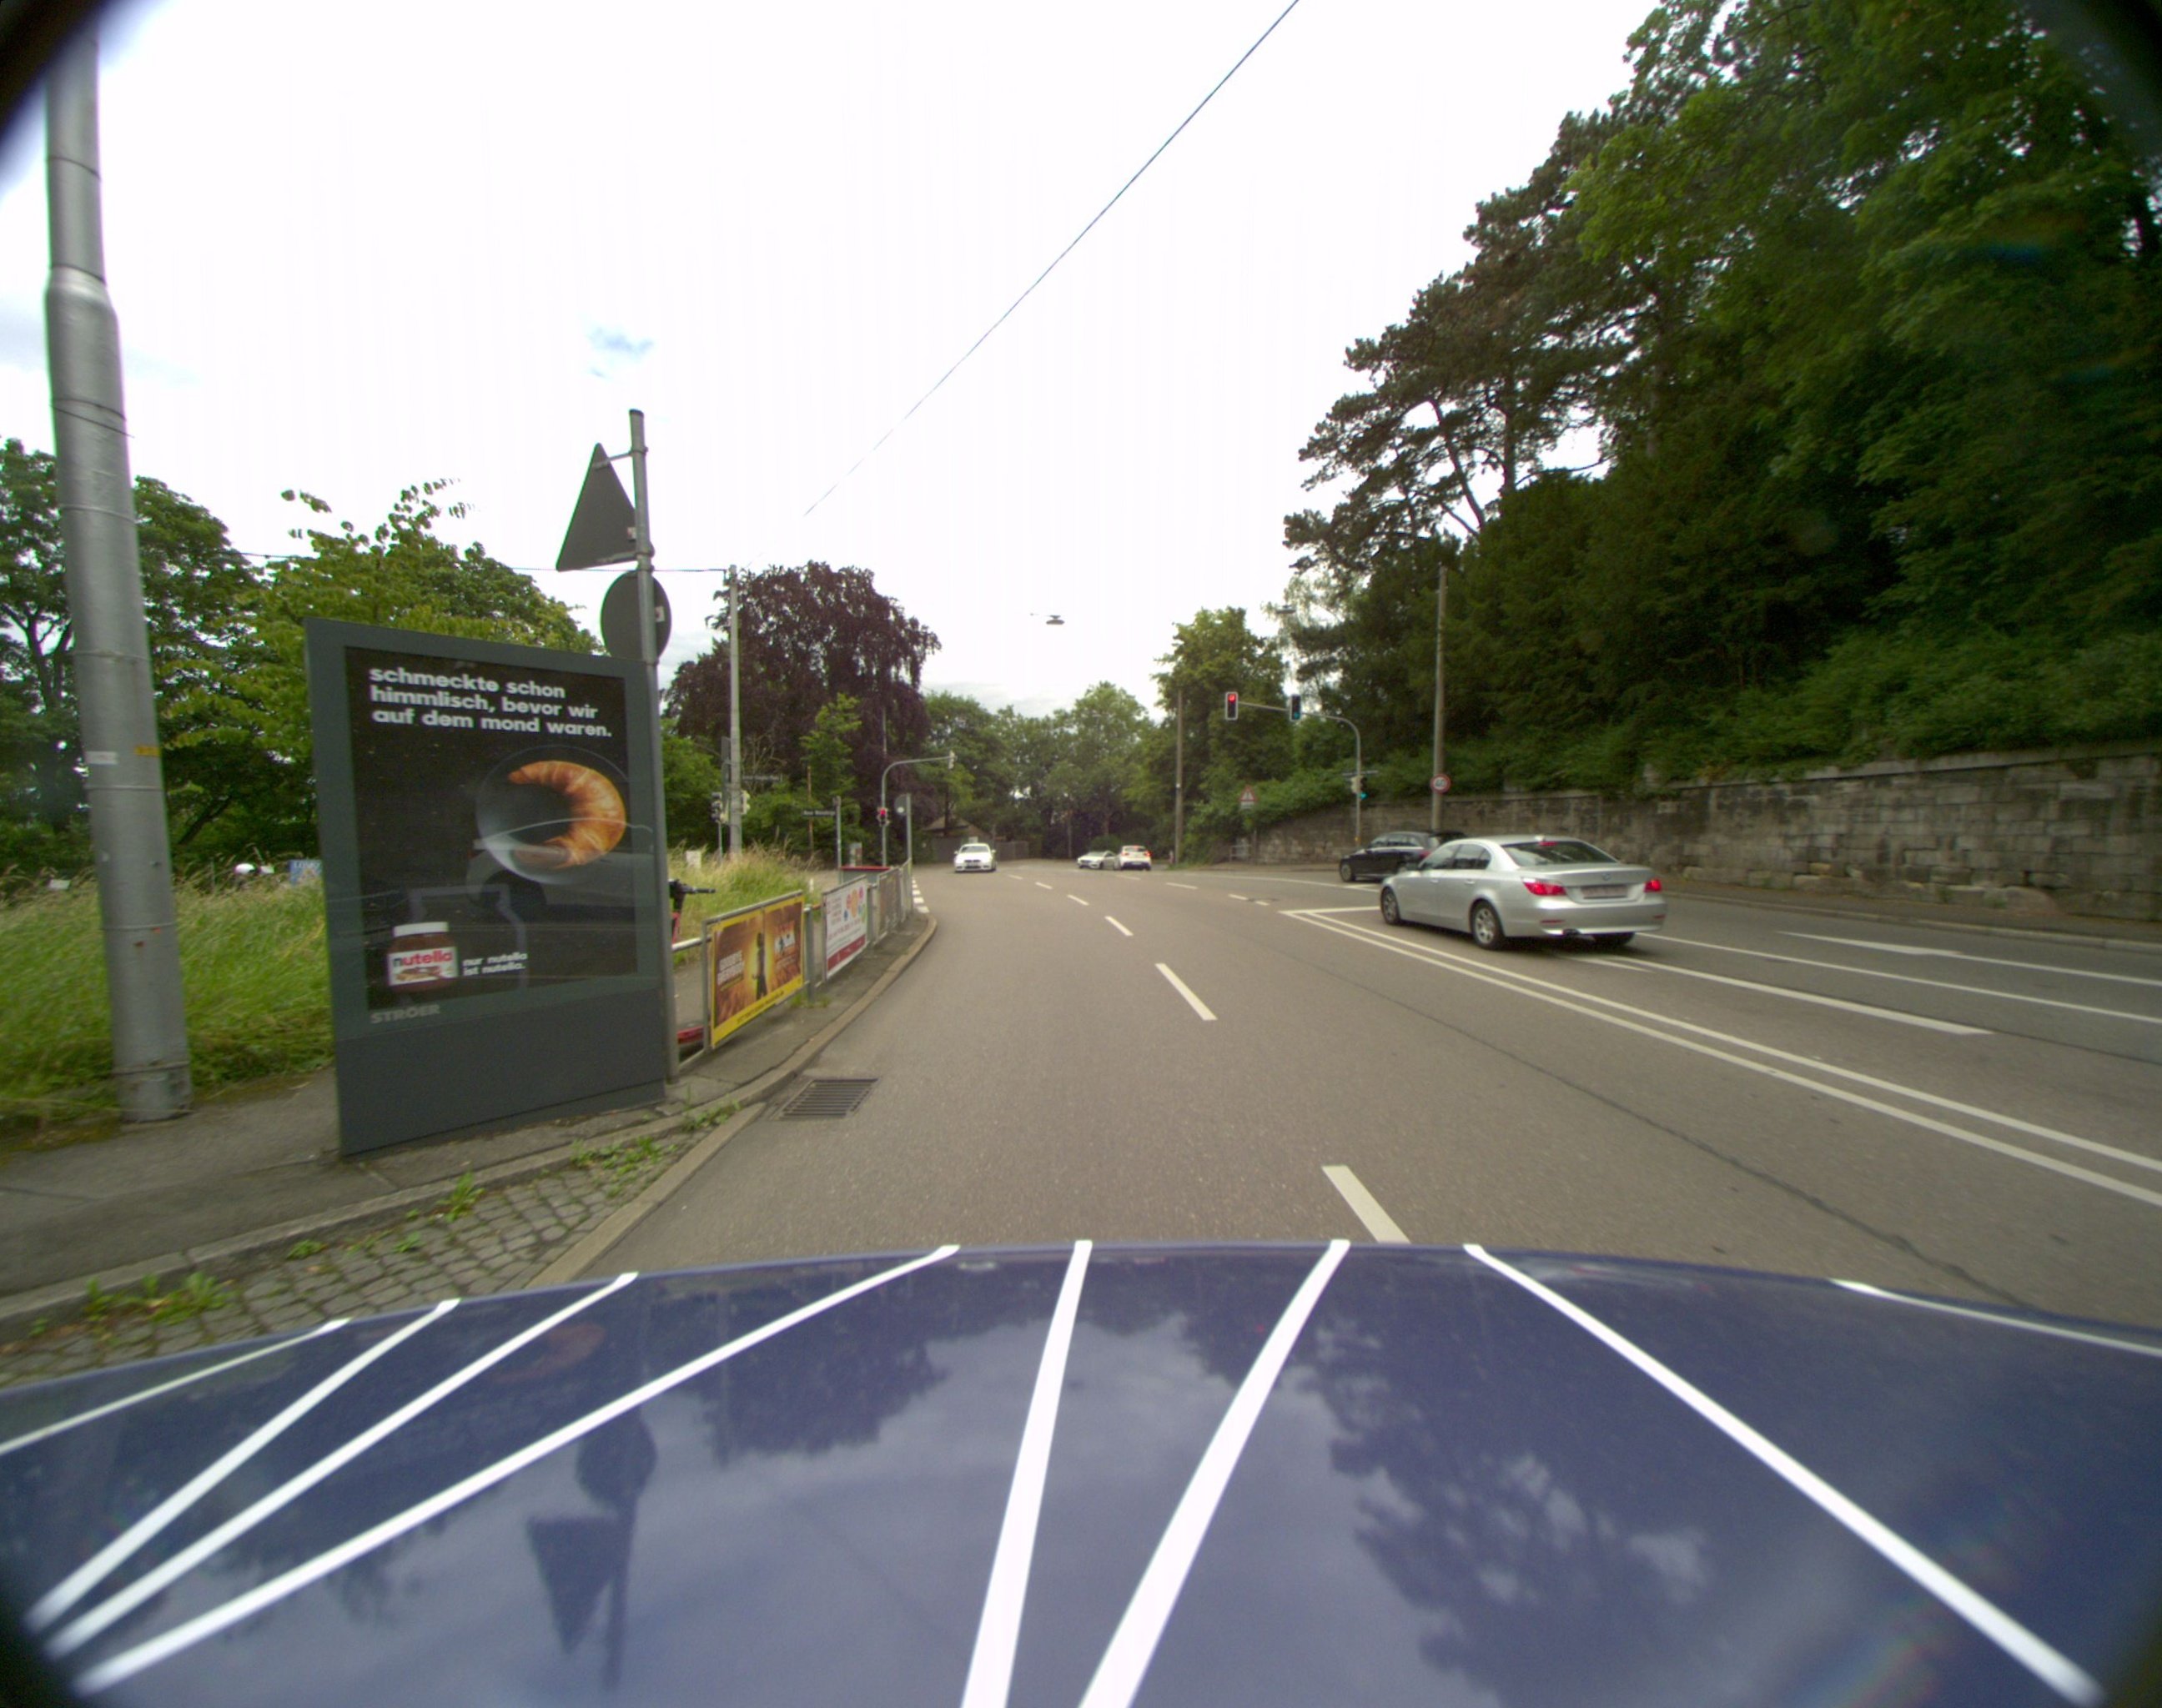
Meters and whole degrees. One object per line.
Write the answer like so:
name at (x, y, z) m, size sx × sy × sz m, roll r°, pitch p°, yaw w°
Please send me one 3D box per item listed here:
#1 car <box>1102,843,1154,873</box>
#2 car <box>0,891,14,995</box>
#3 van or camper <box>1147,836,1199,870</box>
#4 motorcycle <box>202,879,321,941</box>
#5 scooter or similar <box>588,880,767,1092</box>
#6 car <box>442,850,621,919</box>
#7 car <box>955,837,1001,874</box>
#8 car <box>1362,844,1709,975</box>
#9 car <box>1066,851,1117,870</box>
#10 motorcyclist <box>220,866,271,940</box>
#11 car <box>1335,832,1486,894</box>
car at (2.606, 0.211, 43.213) m, size 1.642 × 1.548 × 4.107 m, roll -3°, pitch 1°, yaw -16°
car at (-18.956, 1.593, 10.751) m, size 1.925 × 1.718 × 3.998 m, roll -1°, pitch 3°, yaw 0°
van or camper at (7.594, -0.008, 62.135) m, size 2.203 × 2.530 × 5.371 m, roll 0°, pitch -2°, yaw 30°
motorcycle at (-18.771, 1.253, 17.438) m, size 0.724 × 1.226 × 1.751 m, roll 1°, pitch 3°, yaw 37°
scooter or similar at (-2.894, 0.873, 5.616) m, size 0.517 × 1.281 × 1.486 m, roll 1°, pitch 1°, yaw 1°
car at (-15.303, 0.758, 21.316) m, size 1.646 × 1.497 × 3.706 m, roll 4°, pitch 6°, yaw 41°
car at (-5.195, 0.014, 38.846) m, size 1.823 × 1.463 × 4.780 m, roll 4°, pitch 3°, yaw -3°
car at (6.036, 0.593, 11.011) m, size 1.999 × 1.461 × 4.876 m, roll 0°, pitch 1°, yaw -2°
car at (0.833, 0.485, 56.096) m, size 1.966 × 1.306 × 3.858 m, roll -2°, pitch -2°, yaw 33°
motorcyclist at (-18.991, 1.102, 17.271) m, size 0.724 × 1.595 × 0.650 m, roll 1°, pitch 3°, yaw 37°
car at (8.790, 0.206, 20.675) m, size 1.739 × 1.443 × 4.046 m, roll -3°, pitch 1°, yaw -12°
